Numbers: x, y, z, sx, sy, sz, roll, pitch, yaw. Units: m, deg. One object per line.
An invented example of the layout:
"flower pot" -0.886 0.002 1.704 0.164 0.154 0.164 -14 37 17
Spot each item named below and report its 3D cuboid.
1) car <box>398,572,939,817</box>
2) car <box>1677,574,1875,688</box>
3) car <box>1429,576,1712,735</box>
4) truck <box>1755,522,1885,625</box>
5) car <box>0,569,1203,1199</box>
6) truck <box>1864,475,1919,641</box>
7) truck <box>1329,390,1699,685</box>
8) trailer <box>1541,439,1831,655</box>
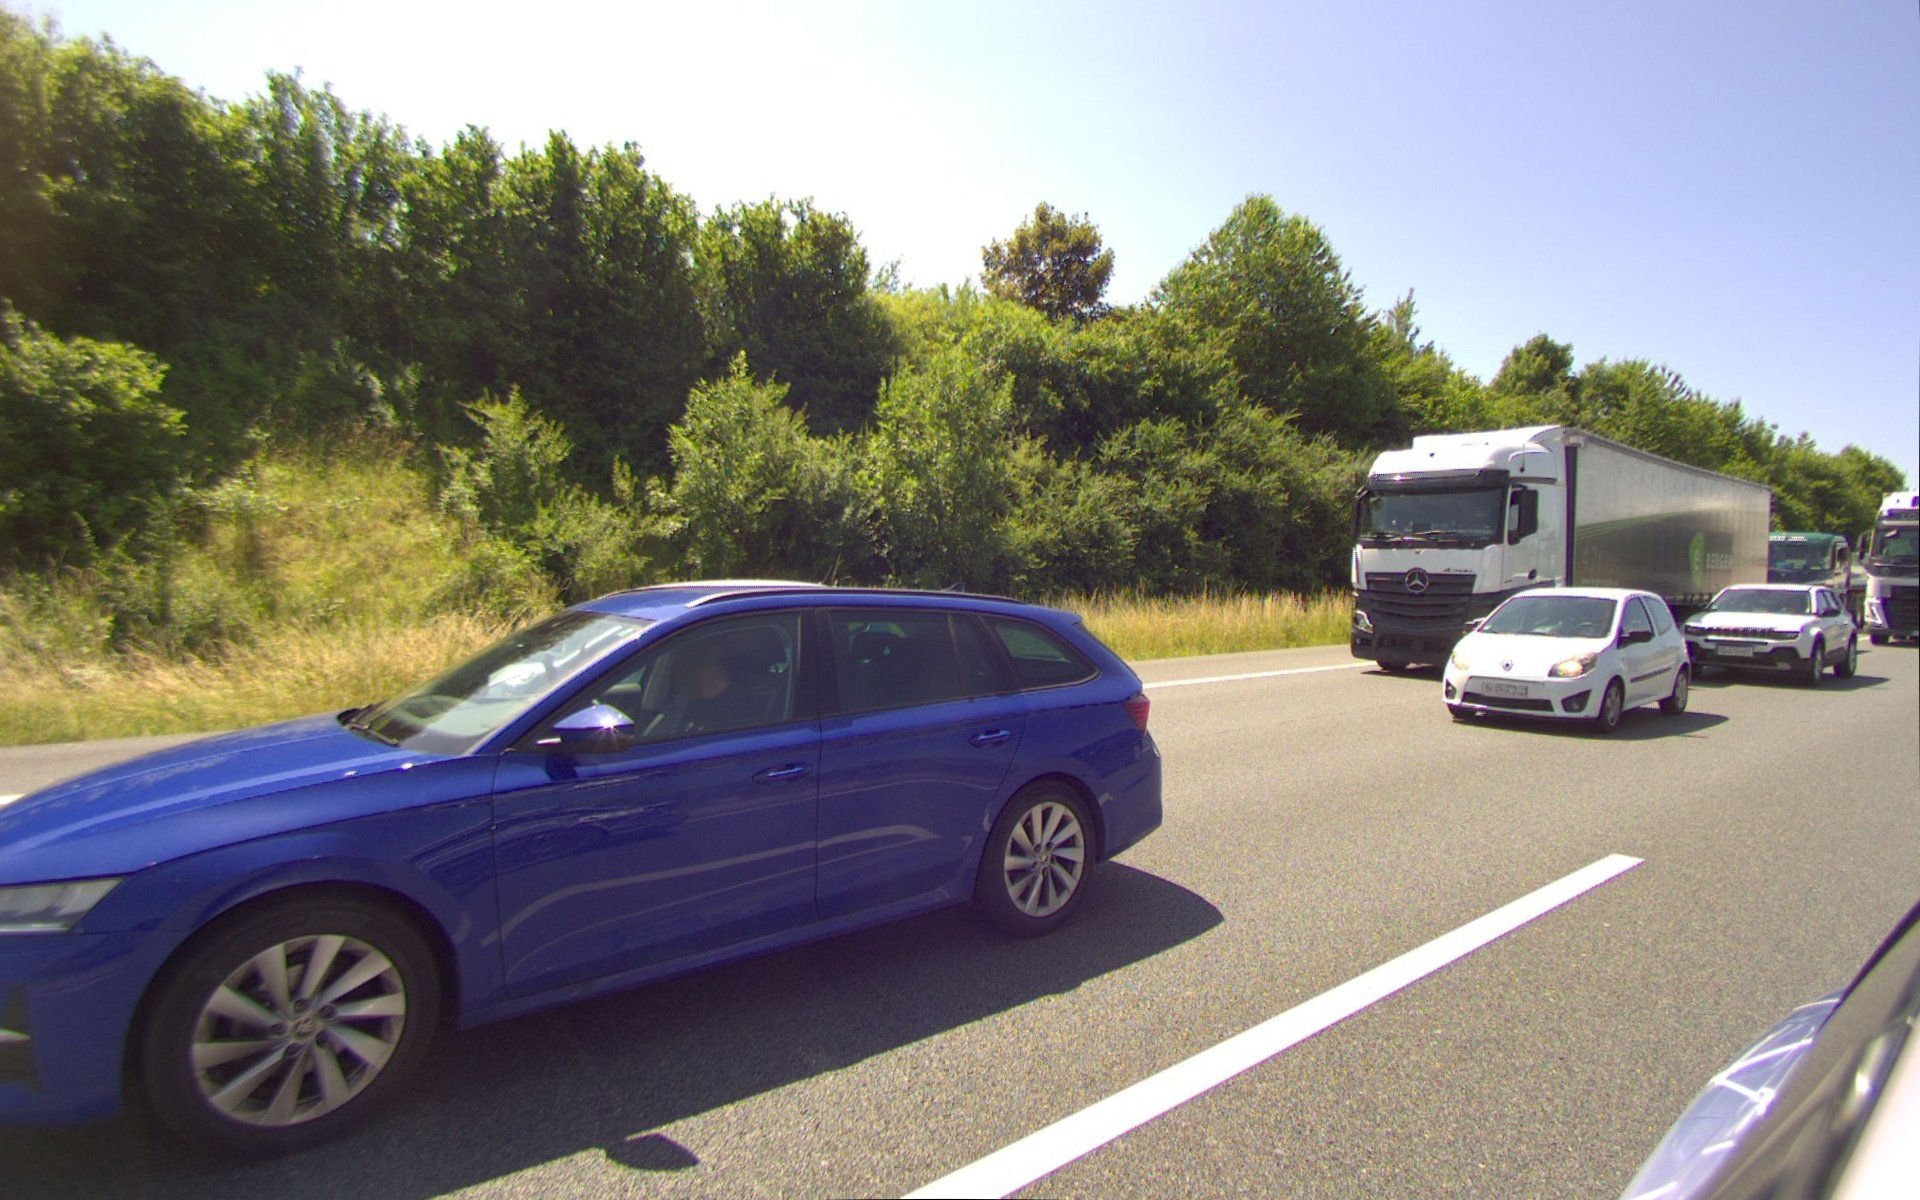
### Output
"car" -2.183 0.544 8.132 3.853 1.479 1.666 -1 3 -40
"car" 13.285 0.397 16.411 3.816 1.577 1.748 -2 3 -39
"car" 6.996 0.489 11.462 3.743 1.451 1.609 -2 3 -40
"truck" 28.797 -0.881 33.841 5.573 3.185 2.300 -1 1 -39
"car" -1.159 0.612 4.102 4.490 1.434 1.781 -2 3 -38
"truck" 26.785 -1.080 26.923 8.210 4.044 2.750 -1 1 -39
"truck" 10.226 -0.985 18.186 8.322 4.208 2.880 -1 1 -39
"trailer" 18.059 -1.145 24.638 11.861 4.208 2.879 -1 1 -40
